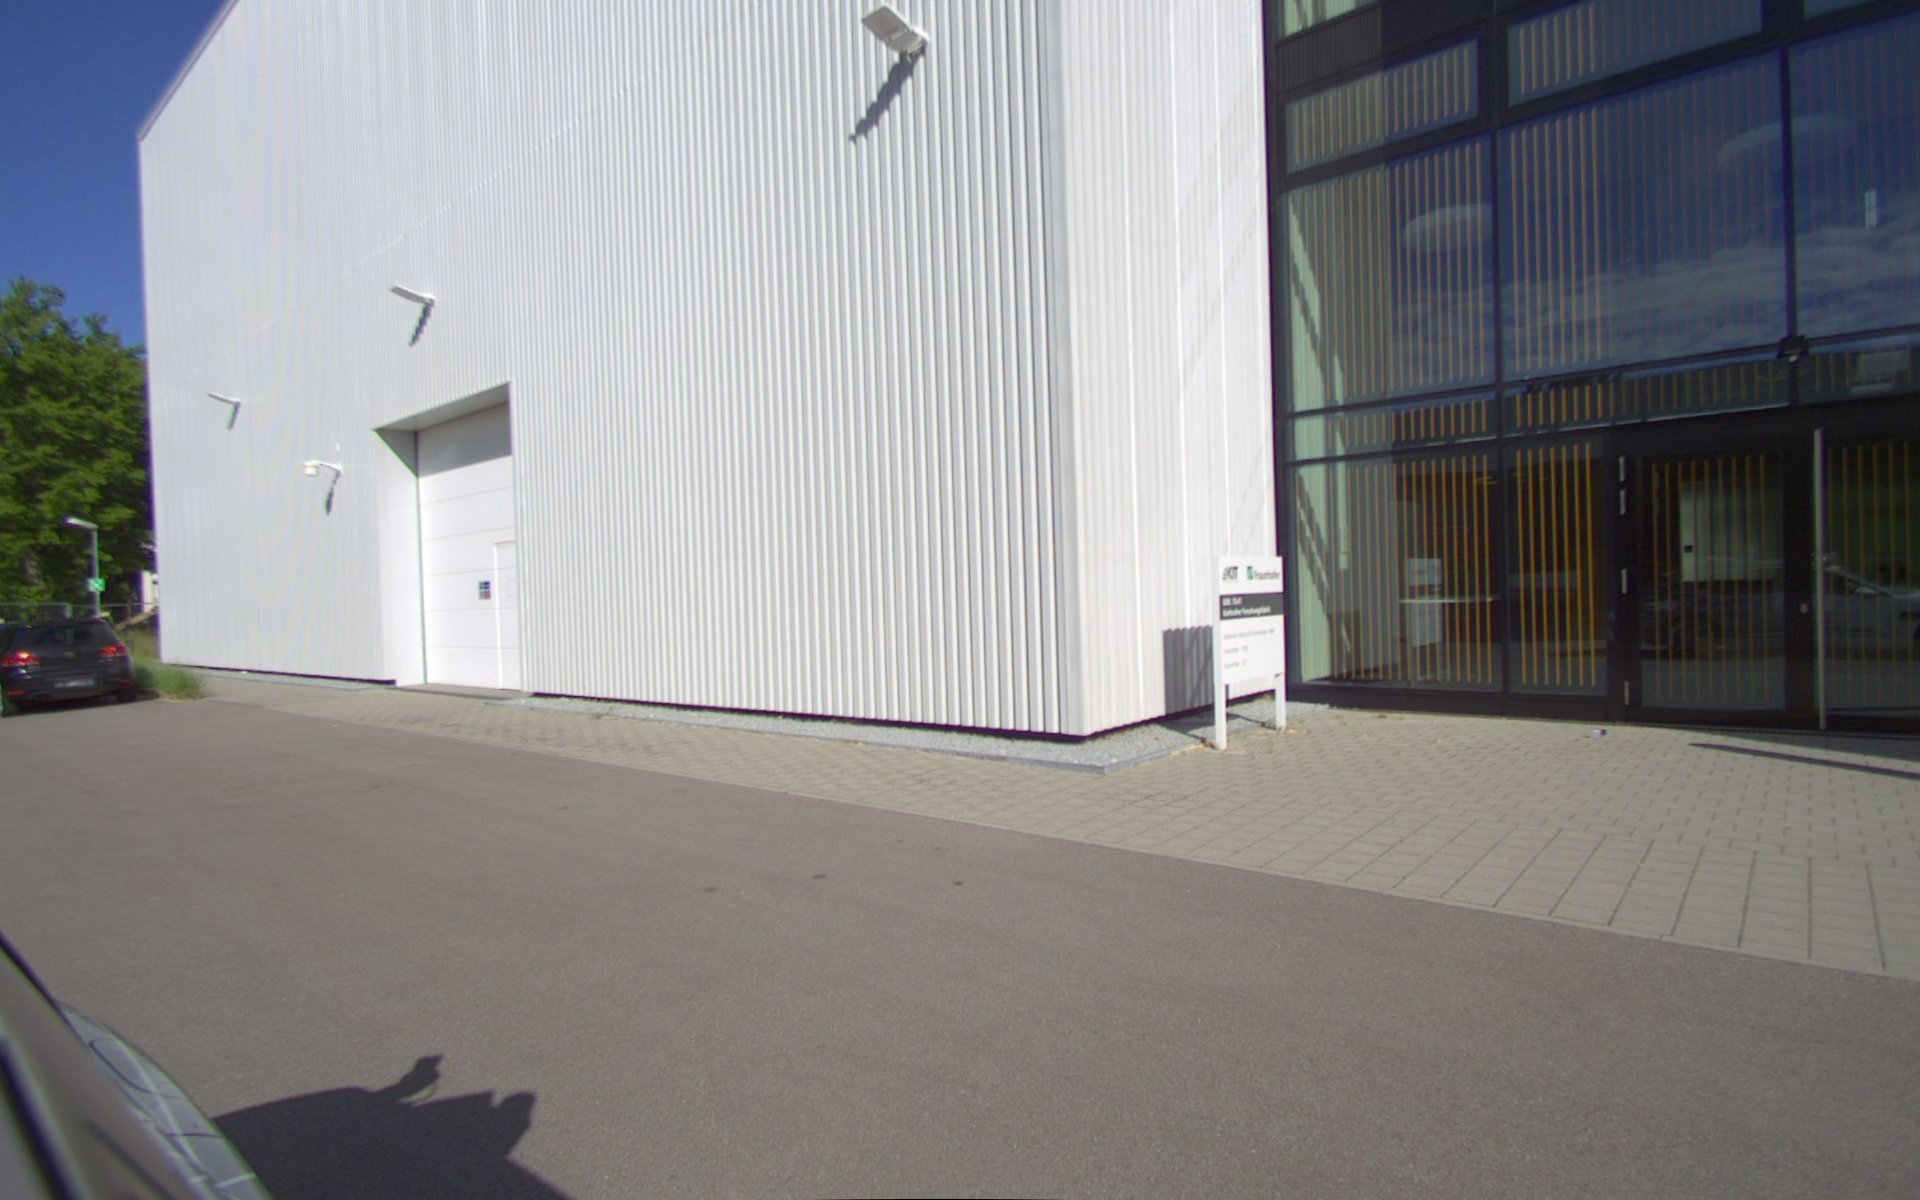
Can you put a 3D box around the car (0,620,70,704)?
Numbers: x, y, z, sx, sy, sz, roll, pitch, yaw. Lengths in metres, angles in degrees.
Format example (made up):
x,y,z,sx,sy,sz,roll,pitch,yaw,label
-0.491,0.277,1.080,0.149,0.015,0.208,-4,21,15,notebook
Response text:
x,y,z,sx,sy,sz,roll,pitch,yaw,label
-19.145,1.228,20.155,3.518,1.499,1.533,-3,1,39,car

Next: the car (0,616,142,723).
x,y,z,sx,sy,sz,roll,pitch,yaw,label
-15.481,1.122,17.147,4.312,1.456,1.738,-2,2,41,car

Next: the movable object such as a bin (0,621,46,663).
x,y,z,sx,sy,sz,roll,pitch,yaw,label
-34.378,1.533,37.148,1.279,1.489,1.126,-3,-2,41,movable object such as a bin

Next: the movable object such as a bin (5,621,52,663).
x,y,z,sx,sy,sz,roll,pitch,yaw,label
-33.362,1.496,36.241,1.288,1.445,1.126,-2,-2,41,movable object such as a bin

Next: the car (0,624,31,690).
x,y,z,sx,sy,sz,roll,pitch,yaw,label
-23.333,1.391,23.728,3.794,1.459,1.695,-3,1,39,car
